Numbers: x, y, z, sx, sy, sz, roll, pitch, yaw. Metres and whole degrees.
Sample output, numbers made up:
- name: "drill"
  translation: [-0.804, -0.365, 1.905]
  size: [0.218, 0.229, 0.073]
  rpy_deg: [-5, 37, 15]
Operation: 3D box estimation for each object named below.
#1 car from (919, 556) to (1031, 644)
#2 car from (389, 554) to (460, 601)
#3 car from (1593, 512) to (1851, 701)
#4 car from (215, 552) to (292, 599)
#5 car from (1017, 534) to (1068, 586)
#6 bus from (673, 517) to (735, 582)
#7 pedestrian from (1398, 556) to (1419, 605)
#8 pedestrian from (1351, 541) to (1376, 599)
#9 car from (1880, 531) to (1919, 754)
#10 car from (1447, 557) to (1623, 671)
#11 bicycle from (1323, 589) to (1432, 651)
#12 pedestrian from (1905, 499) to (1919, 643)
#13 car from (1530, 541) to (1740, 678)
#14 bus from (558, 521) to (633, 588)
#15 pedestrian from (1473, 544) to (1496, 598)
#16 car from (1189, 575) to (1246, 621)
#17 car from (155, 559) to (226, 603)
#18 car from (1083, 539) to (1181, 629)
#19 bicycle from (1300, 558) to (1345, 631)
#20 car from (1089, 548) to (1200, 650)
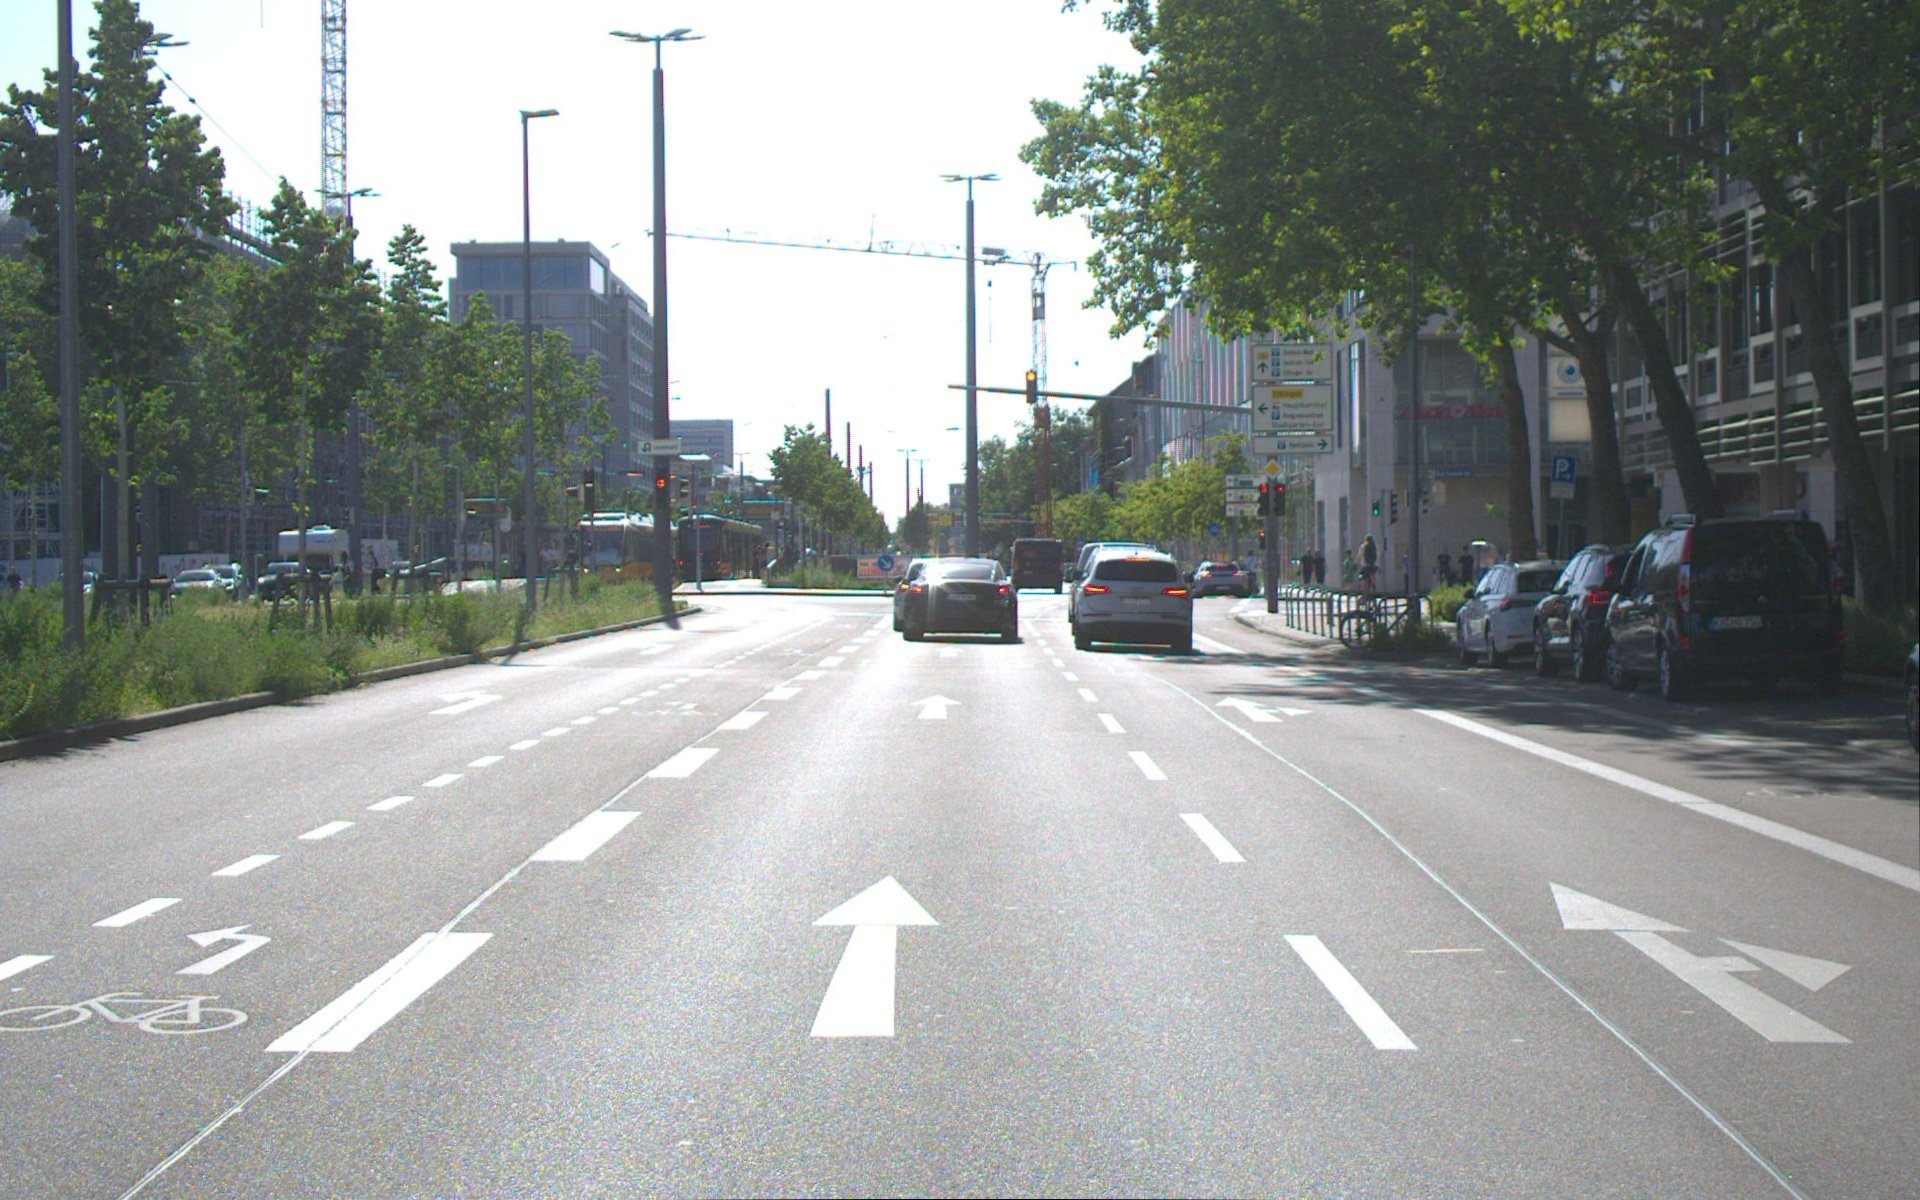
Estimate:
- name: "car"
  translation: [0.232, -0.029, 60.548]
  size: [1.912, 1.481, 4.010]
  rpy_deg: [0, 1, -1]
- name: "car"
  translation: [-14.261, -0.590, 91.637]
  size: [1.376, 1.174, 3.220]
  rpy_deg: [2, 0, 0]
- name: "car"
  translation: [7.821, 0.030, 35.637]
  size: [1.704, 1.784, 4.192]
  rpy_deg: [-2, 1, 0]
- name: "car"
  translation: [-18.923, -0.649, 92.159]
  size: [1.376, 1.174, 3.220]
  rpy_deg: [2, 0, 0]
- name: "car"
  translation: [3.354, -1.617, 140.318]
  size: [1.993, 2.007, 4.000]
  rpy_deg: [2, 0, 0]
- name: "bus"
  translation: [-12.507, -2.430, 168.711]
  size: [2.627, 2.949, 9.900]
  rpy_deg: [2, 0, -2]
- name: "pedestrian"
  translation: [13.201, -0.568, 101.253]
  size: [0.562, 1.436, 0.631]
  rpy_deg: [2, 0, 7]
- name: "pedestrian"
  translation: [10.069, -0.750, 85.789]
  size: [0.562, 1.436, 0.631]
  rpy_deg: [2, 0, 7]
- name: "car"
  translation: [7.875, 0.331, 24.230]
  size: [1.704, 1.637, 4.636]
  rpy_deg: [0, 1, 2]
- name: "car"
  translation: [7.939, 0.154, 47.808]
  size: [1.704, 1.487, 4.600]
  rpy_deg: [0, 1, 0]
- name: "bicycle"
  translation: [6.839, 0.332, 56.356]
  size: [1.693, 0.954, 0.478]
  rpy_deg: [-2, 1, -4]
- name: "pedestrian"
  translation: [13.068, -0.370, 45.951]
  size: [0.676, 1.910, 0.557]
  rpy_deg: [2, 0, 1]
- name: "car"
  translation: [7.987, 0.086, 41.012]
  size: [1.704, 1.558, 4.192]
  rpy_deg: [0, 1, 0]
- name: "bus"
  translation: [-16.050, -1.970, 151.671]
  size: [2.627, 2.773, 8.845]
  rpy_deg: [2, 0, -2]
- name: "pedestrian"
  translation: [14.002, -0.772, 91.748]
  size: [0.562, 1.436, 0.631]
  rpy_deg: [2, 0, 7]
- name: "car"
  translation: [9.452, -0.073, 126.296]
  size: [1.662, 1.644, 3.701]
  rpy_deg: [2, 0, -1]
- name: "car"
  translation: [-29.600, -0.720, 132.359]
  size: [1.837, 1.607, 3.895]
  rpy_deg: [2, 0, 0]
- name: "car"
  translation: [3.495, -0.353, 70.519]
  size: [1.721, 1.776, 4.186]
  rpy_deg: [0, 1, -1]
- name: "bicycle"
  translation: [7.317, -0.109, 69.416]
  size: [0.562, 1.436, 2.576]
  rpy_deg: [2, 0, -1]
- name: "car"
  translation: [2.989, -0.046, 56.357]
  size: [1.721, 1.612, 4.186]
  rpy_deg: [0, 1, 2]
